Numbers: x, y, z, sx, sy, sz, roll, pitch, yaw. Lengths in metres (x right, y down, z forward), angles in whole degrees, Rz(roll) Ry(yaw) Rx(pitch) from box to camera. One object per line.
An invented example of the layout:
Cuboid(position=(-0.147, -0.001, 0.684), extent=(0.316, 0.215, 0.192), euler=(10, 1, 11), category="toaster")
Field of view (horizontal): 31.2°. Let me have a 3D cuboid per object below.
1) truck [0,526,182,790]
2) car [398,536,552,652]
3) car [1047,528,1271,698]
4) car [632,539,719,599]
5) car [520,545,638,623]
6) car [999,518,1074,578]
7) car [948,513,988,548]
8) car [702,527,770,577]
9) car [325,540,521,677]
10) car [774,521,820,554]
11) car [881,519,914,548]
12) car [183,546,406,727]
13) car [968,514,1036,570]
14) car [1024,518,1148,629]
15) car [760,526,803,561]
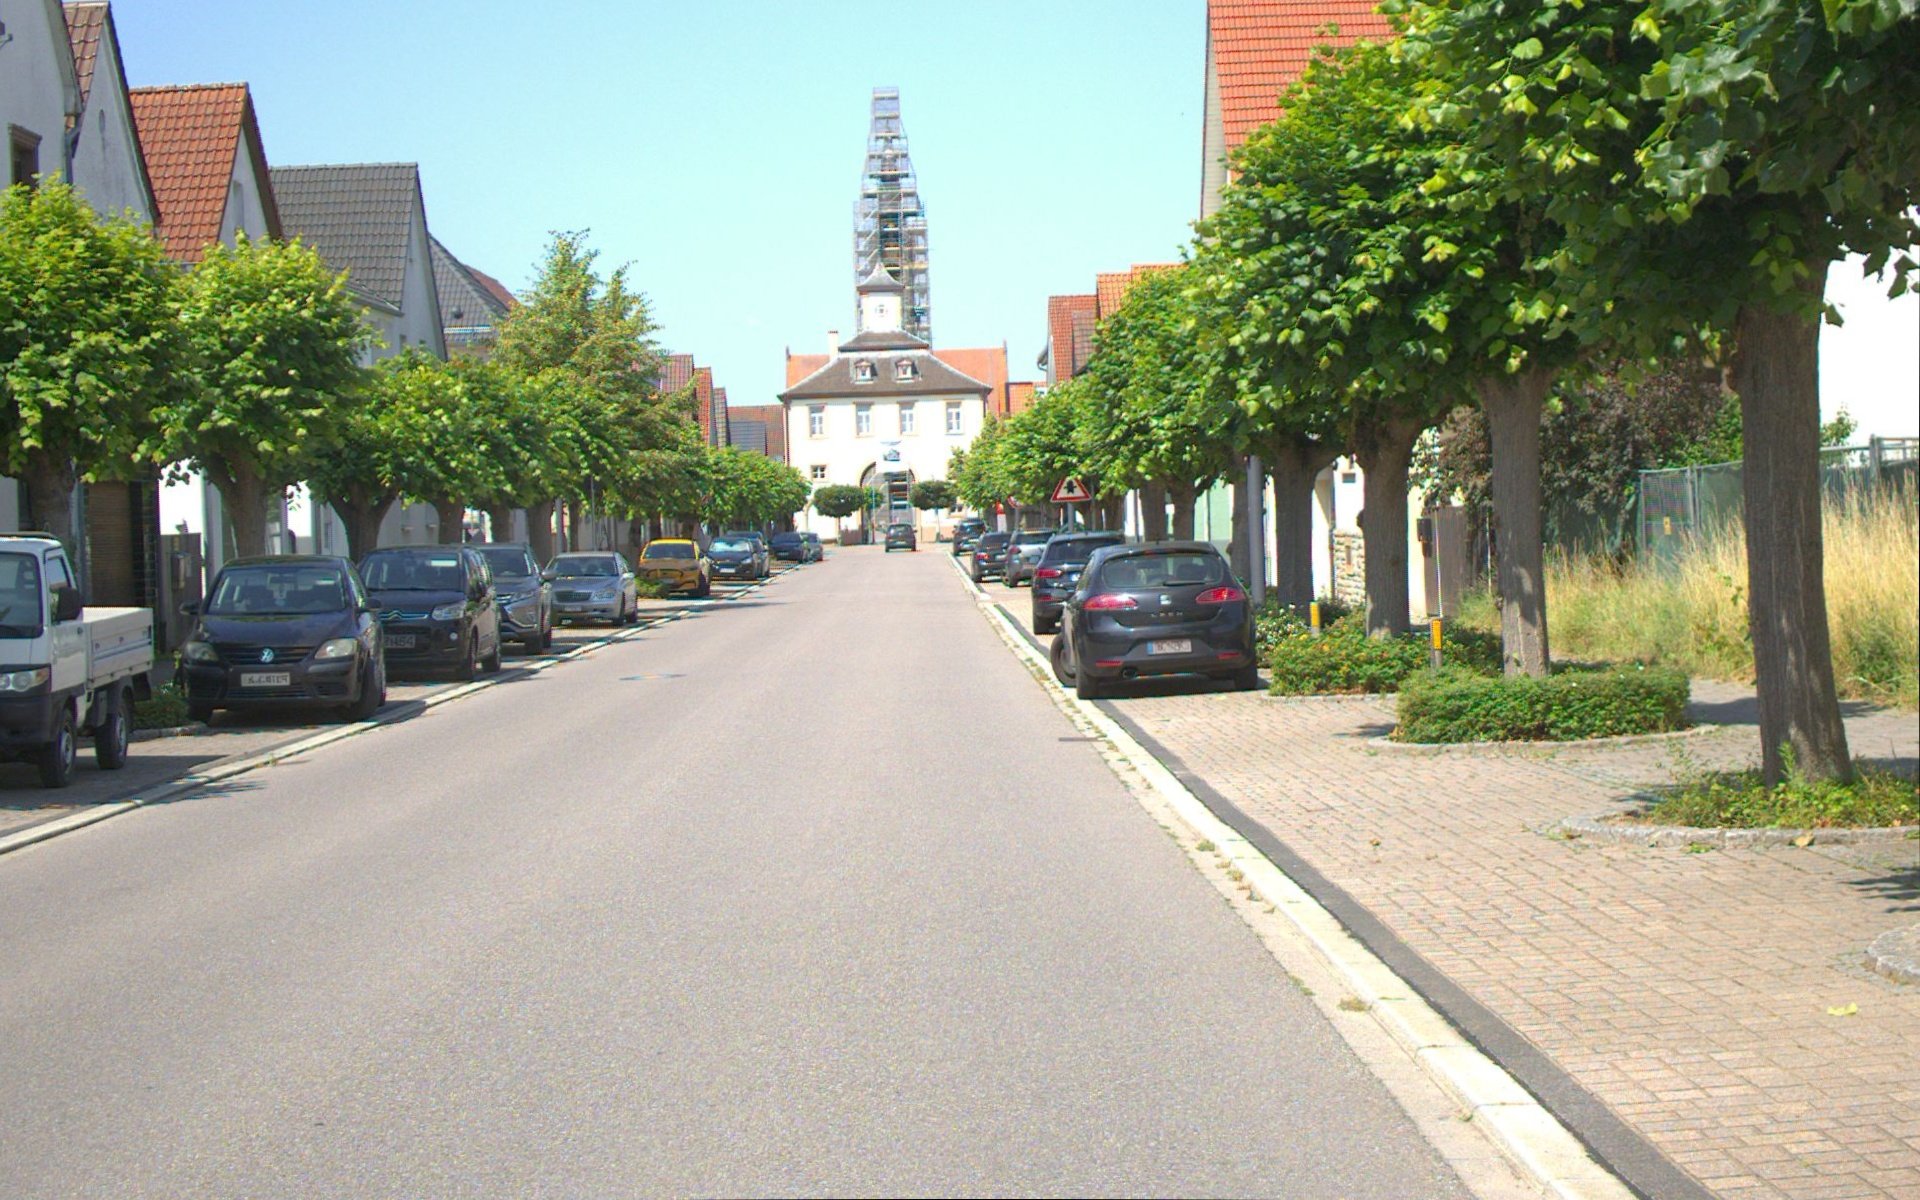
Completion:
Cuboid(position=(-6.891, 0.344, 24.983), extent=(1.576, 1.759, 4.192), euler=(0, 1, -1), category="truck")
Cuboid(position=(-7.219, -0.133, 51.554), extent=(1.993, 1.647, 4.368), euler=(0, 1, -4), category="car")
Cuboid(position=(1.893, 0.080, 33.796), extent=(1.824, 1.427, 4.057), euler=(-4, 2, -1), category="car")
Cuboid(position=(-7.890, -0.879, 95.735), extent=(1.993, 1.606, 4.689), euler=(0, 1, 0), category="car")
Cuboid(position=(-7.267, -0.338, 65.860), extent=(1.840, 1.391, 4.407), euler=(-1, 1, -1), category="car")
Cuboid(position=(2.106, -1.471, 95.759), extent=(1.837, 1.602, 4.001), euler=(-1, 1, -2), category="car")
Cuboid(position=(0.377, -3.366, 166.041), extent=(1.837, 1.550, 4.314), euler=(-3, 1, 0), category="car")
Cuboid(position=(-7.630, -1.647, 117.347), extent=(1.993, 1.606, 4.689), euler=(0, 2, 0), category="car")
Cuboid(position=(-6.607, 0.072, 42.700), extent=(1.853, 1.629, 4.057), euler=(0, 1, -1), category="car")
Cuboid(position=(-7.869, -3.014, 166.088), extent=(1.993, 1.606, 3.855), euler=(0, 1, 0), category="car")
Cuboid(position=(-3.304, -3.518, 182.124), extent=(1.729, 1.542, 3.456), euler=(0, 1, -1), category="car")
Cuboid(position=(-6.409, 0.299, 33.458), extent=(1.785, 1.628, 4.001), euler=(-1, 1, -6), category="car")
Cuboid(position=(1.238, -1.757, 103.275), extent=(1.837, 1.550, 4.314), euler=(-3, 1, -1), category="car")
Cuboid(position=(2.053, -0.453, 54.987), extent=(1.824, 1.580, 4.057), euler=(-3, 2, 3), category="car")
Cuboid(position=(-8.303, -2.628, 160.350), extent=(1.757, 1.550, 4.020), euler=(-2, 1, 0), category="car")
